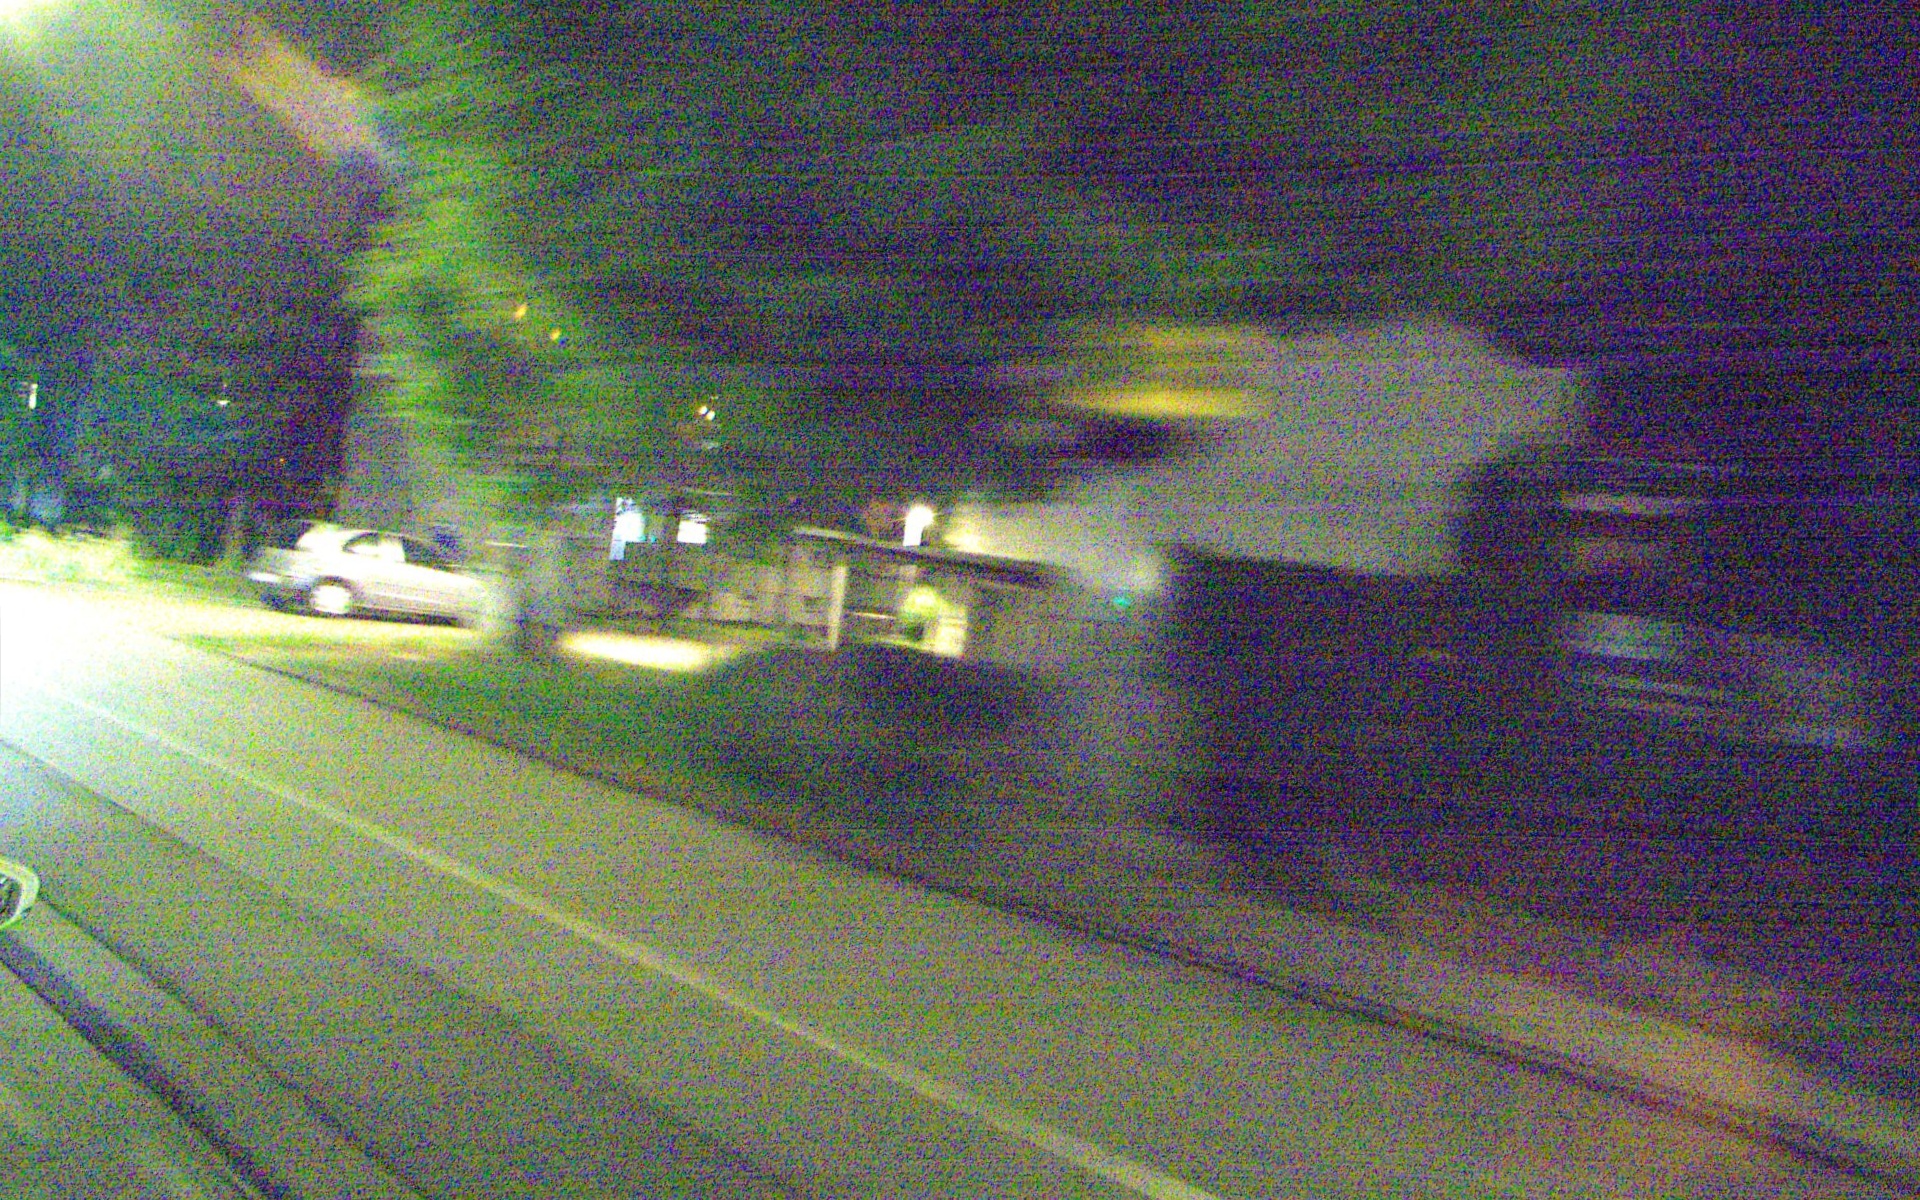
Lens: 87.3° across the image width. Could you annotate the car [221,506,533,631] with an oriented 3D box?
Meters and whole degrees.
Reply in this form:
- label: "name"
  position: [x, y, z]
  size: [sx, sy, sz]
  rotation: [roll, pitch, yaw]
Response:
- label: "car"
  position: [-9.097, -0.432, 15.980]
  size: [1.828, 1.370, 3.770]
  rotation: [8, -1, 33]
